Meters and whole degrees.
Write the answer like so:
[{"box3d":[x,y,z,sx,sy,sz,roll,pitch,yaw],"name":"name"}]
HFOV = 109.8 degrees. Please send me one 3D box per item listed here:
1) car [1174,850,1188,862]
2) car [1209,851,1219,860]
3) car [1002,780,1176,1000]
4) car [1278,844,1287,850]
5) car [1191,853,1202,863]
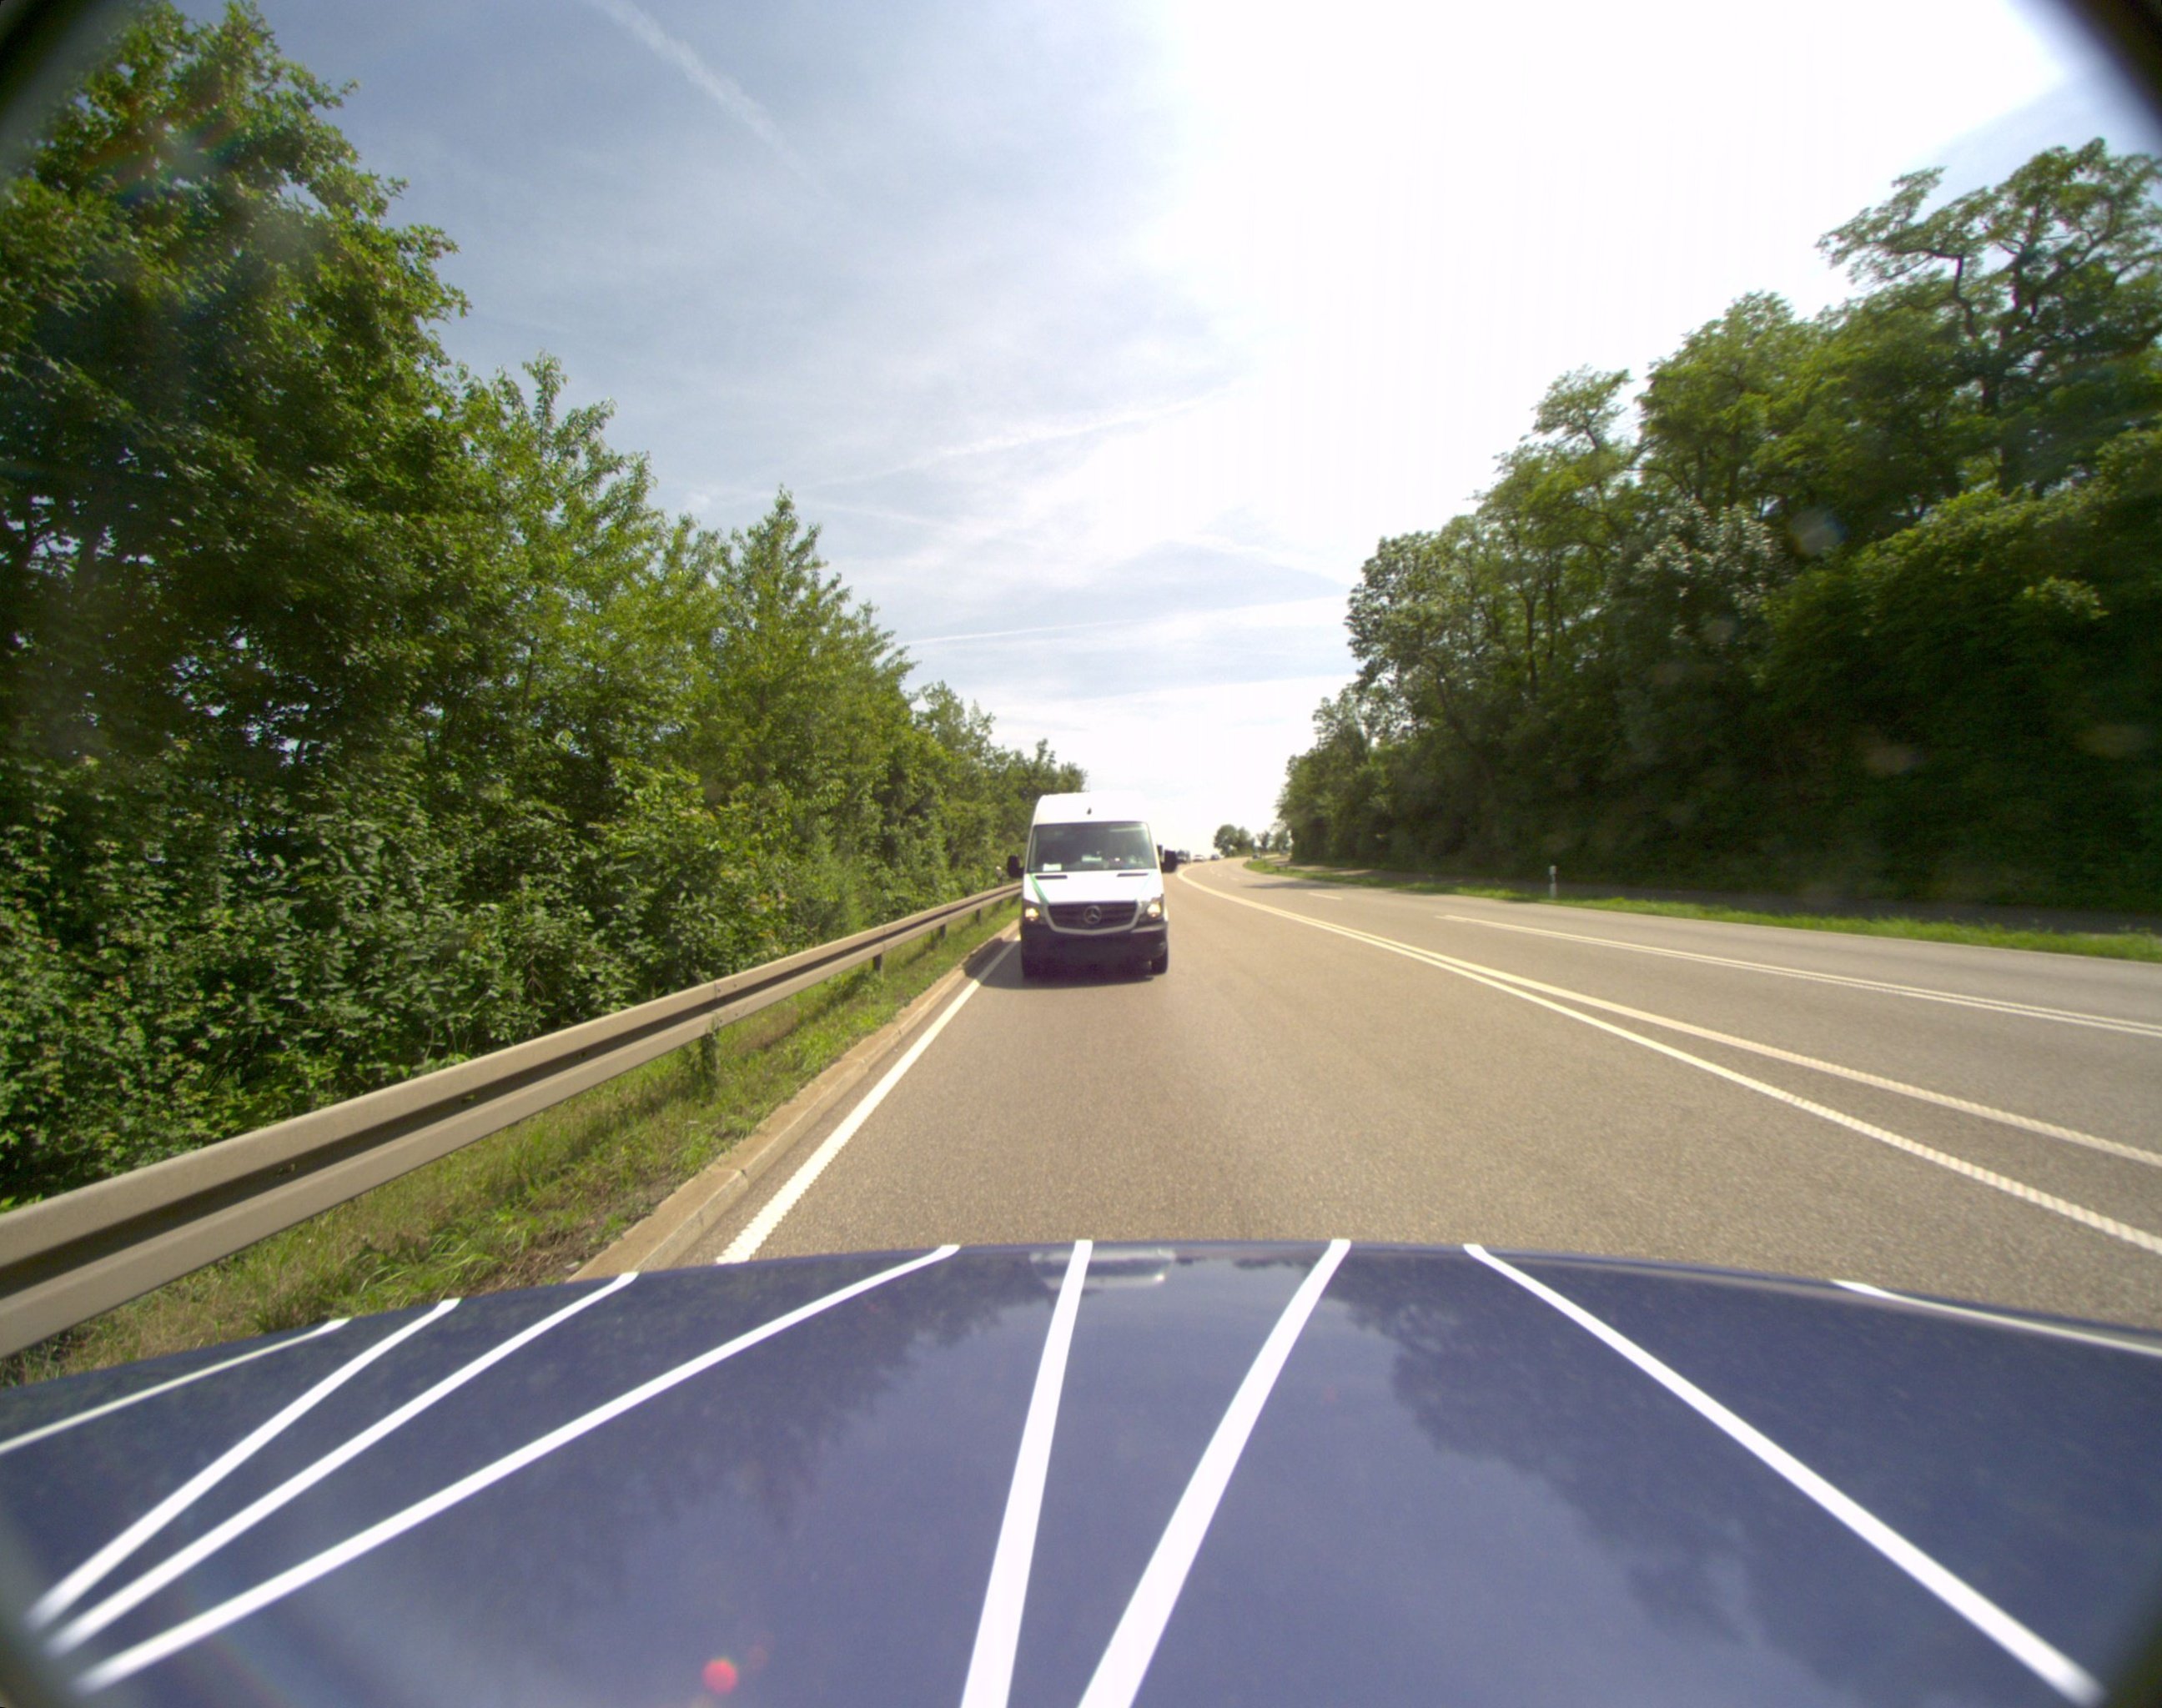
[{"box3d":[18.203,0.332,138.279,1.996,2.002,4.005,-2,0,16],"name":"car"},{"box3d":[31.400,0.368,179.117,1.764,1.849,3.814,-2,1,17],"name":"car"},{"box3d":[0.173,0.432,11.511,1.958,2.502,5.267,-2,0,2],"name":"car"},{"box3d":[60.683,-2.045,228.640,1.957,1.717,3.917,-2,-1,22],"name":"car"},{"box3d":[24.404,0.828,160.685,1.849,2.002,3.876,-2,1,16],"name":"car"}]
